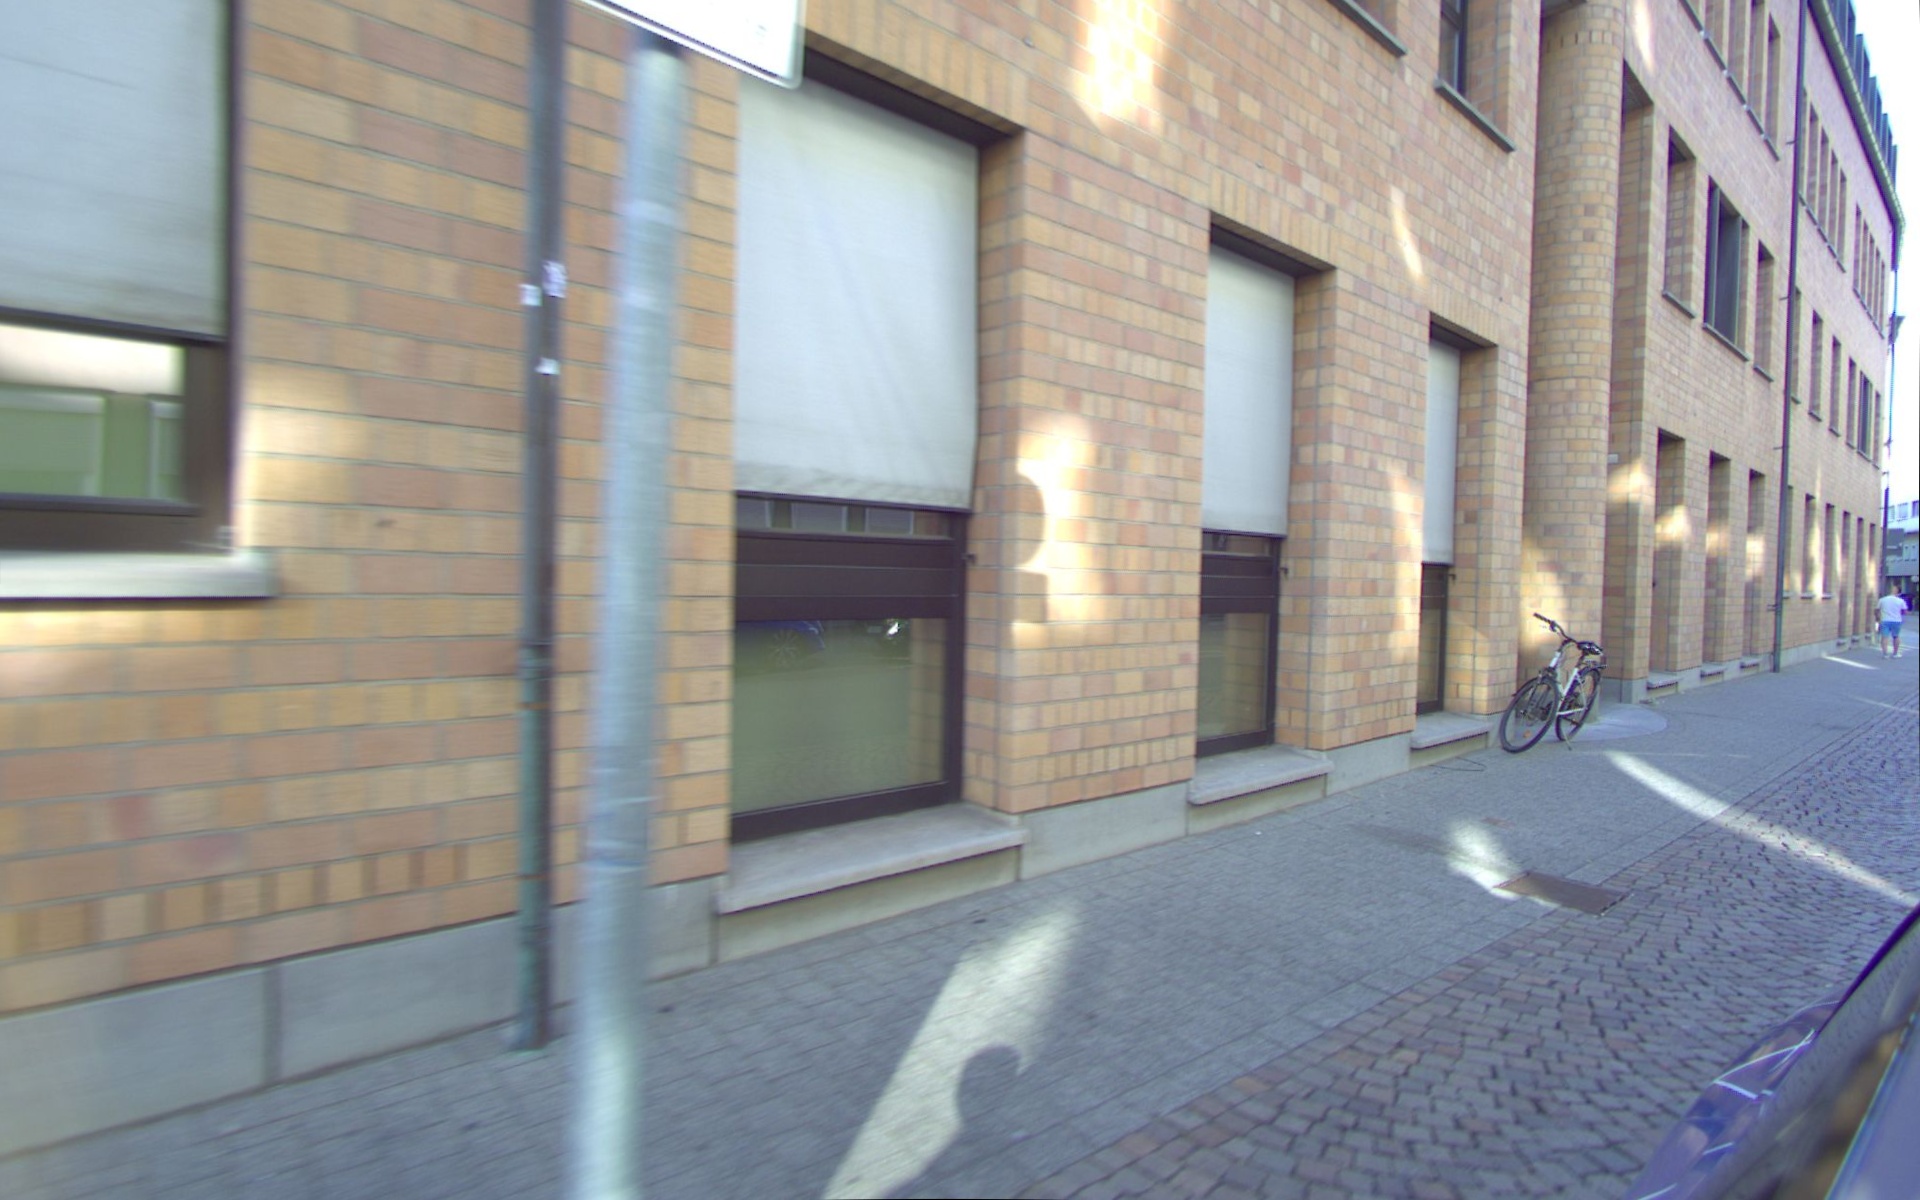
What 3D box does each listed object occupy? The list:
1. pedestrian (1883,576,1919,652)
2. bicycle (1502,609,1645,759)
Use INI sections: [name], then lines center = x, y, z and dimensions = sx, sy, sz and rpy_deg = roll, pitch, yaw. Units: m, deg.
[pedestrian]
center = 22.462, 0.323, 23.928
dimensions = 0.807, 1.737, 0.762
rpy_deg = 0, 4, -43
[bicycle]
center = 5.426, 0.672, 8.891
dimensions = 0.550, 1.116, 1.950
rpy_deg = 7, 5, 45
